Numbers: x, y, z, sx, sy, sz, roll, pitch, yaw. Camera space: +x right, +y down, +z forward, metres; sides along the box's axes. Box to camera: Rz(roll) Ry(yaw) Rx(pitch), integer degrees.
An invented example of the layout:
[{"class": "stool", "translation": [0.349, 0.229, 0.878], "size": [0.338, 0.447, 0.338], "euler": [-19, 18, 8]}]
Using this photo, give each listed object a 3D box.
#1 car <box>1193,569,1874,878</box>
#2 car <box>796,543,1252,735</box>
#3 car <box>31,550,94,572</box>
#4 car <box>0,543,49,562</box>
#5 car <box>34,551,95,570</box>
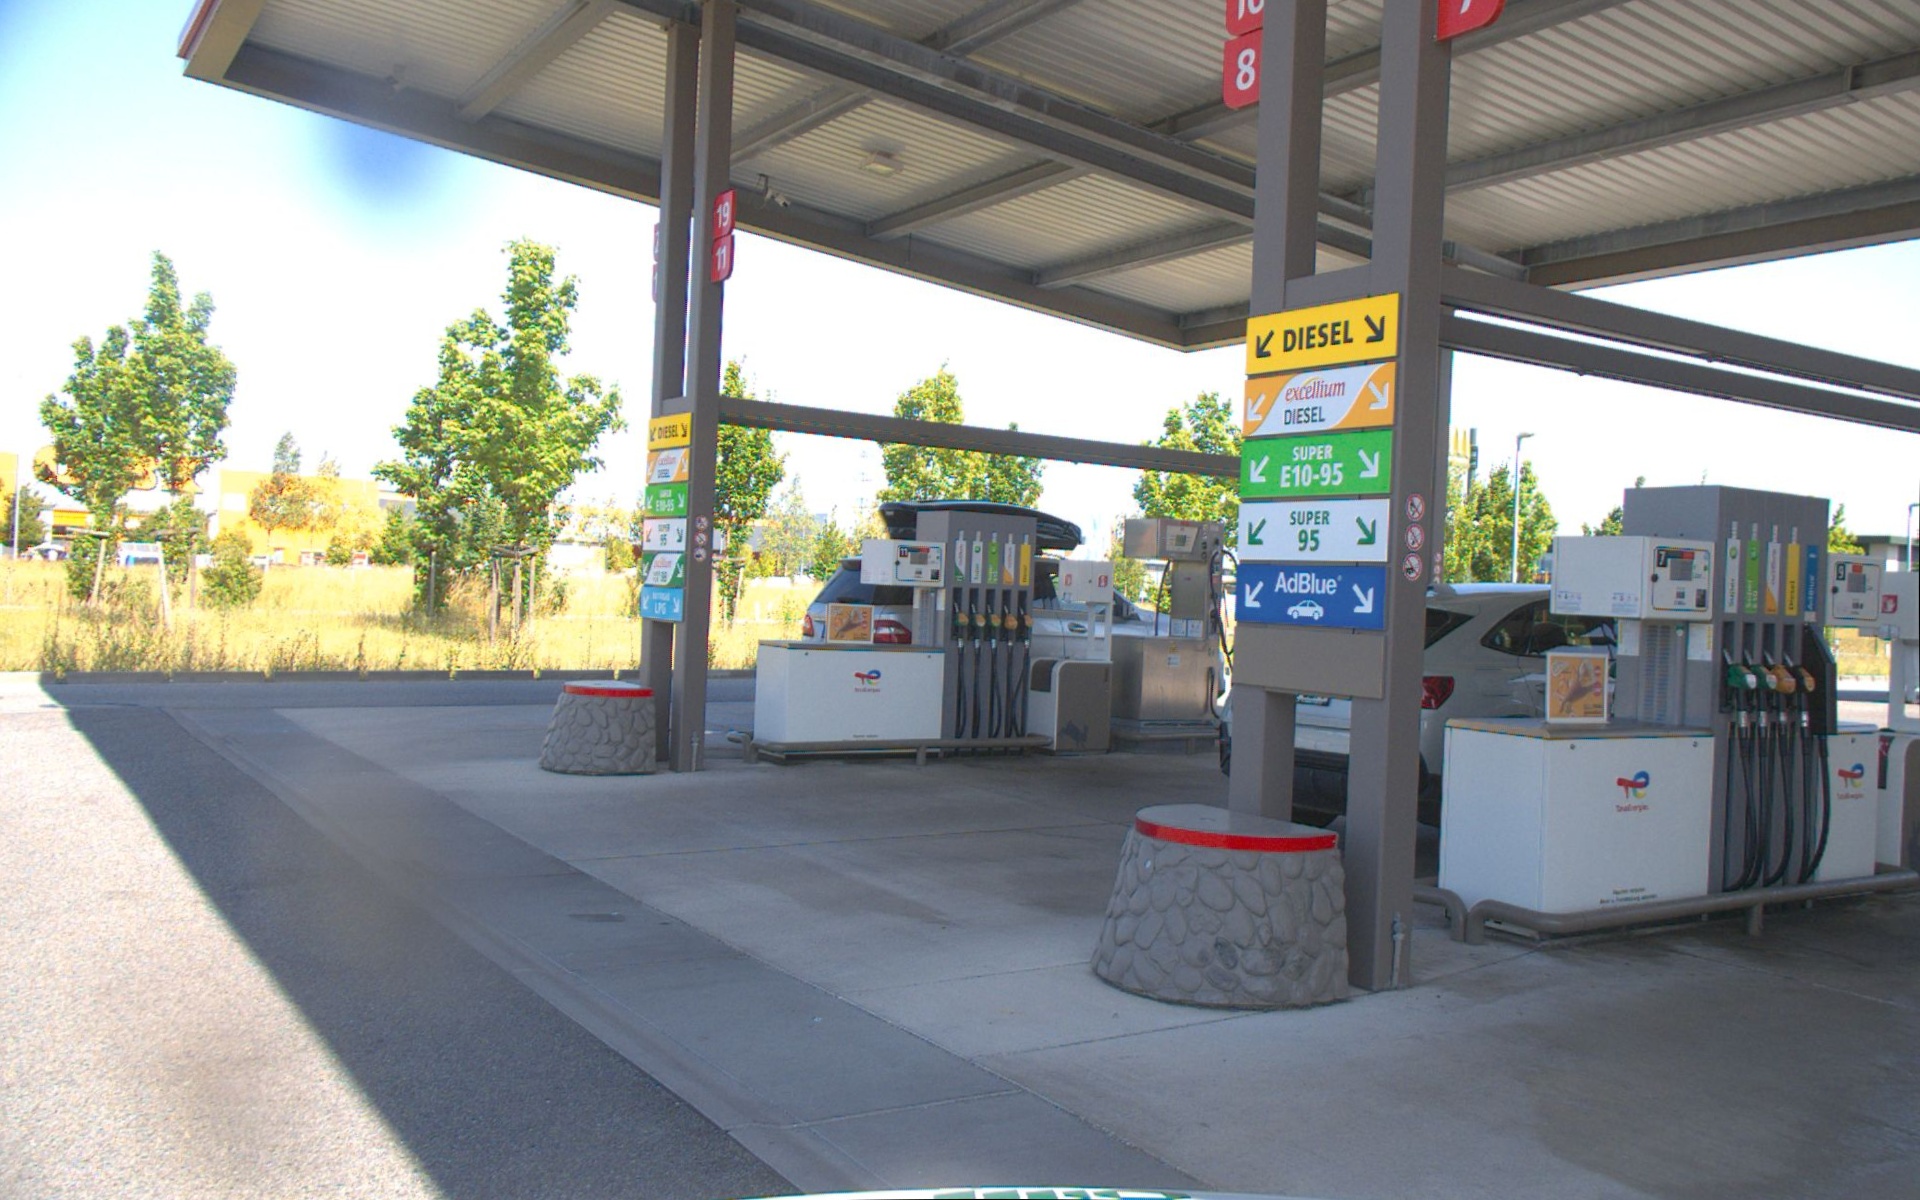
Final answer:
[{"class": "car", "translation": [3.683, 0.660, 10.393], "size": [4.270, 1.568, 1.767], "euler": [1, 1, -32]}, {"class": "car", "translation": [0.731, 0.357, 16.877], "size": [4.486, 1.717, 1.842], "euler": [1, 1, -37]}, {"class": "car", "translation": [-67.854, -2.960, 125.037], "size": [4.113, 1.496, 1.654], "euler": [1, 0, -31]}, {"class": "car", "translation": [-61.025, -3.080, 106.902], "size": [3.661, 1.133, 1.577], "euler": [1, 0, -31]}, {"class": "car", "translation": [-66.704, -2.950, 123.199], "size": [3.963, 1.322, 1.739], "euler": [1, 0, -31]}]
